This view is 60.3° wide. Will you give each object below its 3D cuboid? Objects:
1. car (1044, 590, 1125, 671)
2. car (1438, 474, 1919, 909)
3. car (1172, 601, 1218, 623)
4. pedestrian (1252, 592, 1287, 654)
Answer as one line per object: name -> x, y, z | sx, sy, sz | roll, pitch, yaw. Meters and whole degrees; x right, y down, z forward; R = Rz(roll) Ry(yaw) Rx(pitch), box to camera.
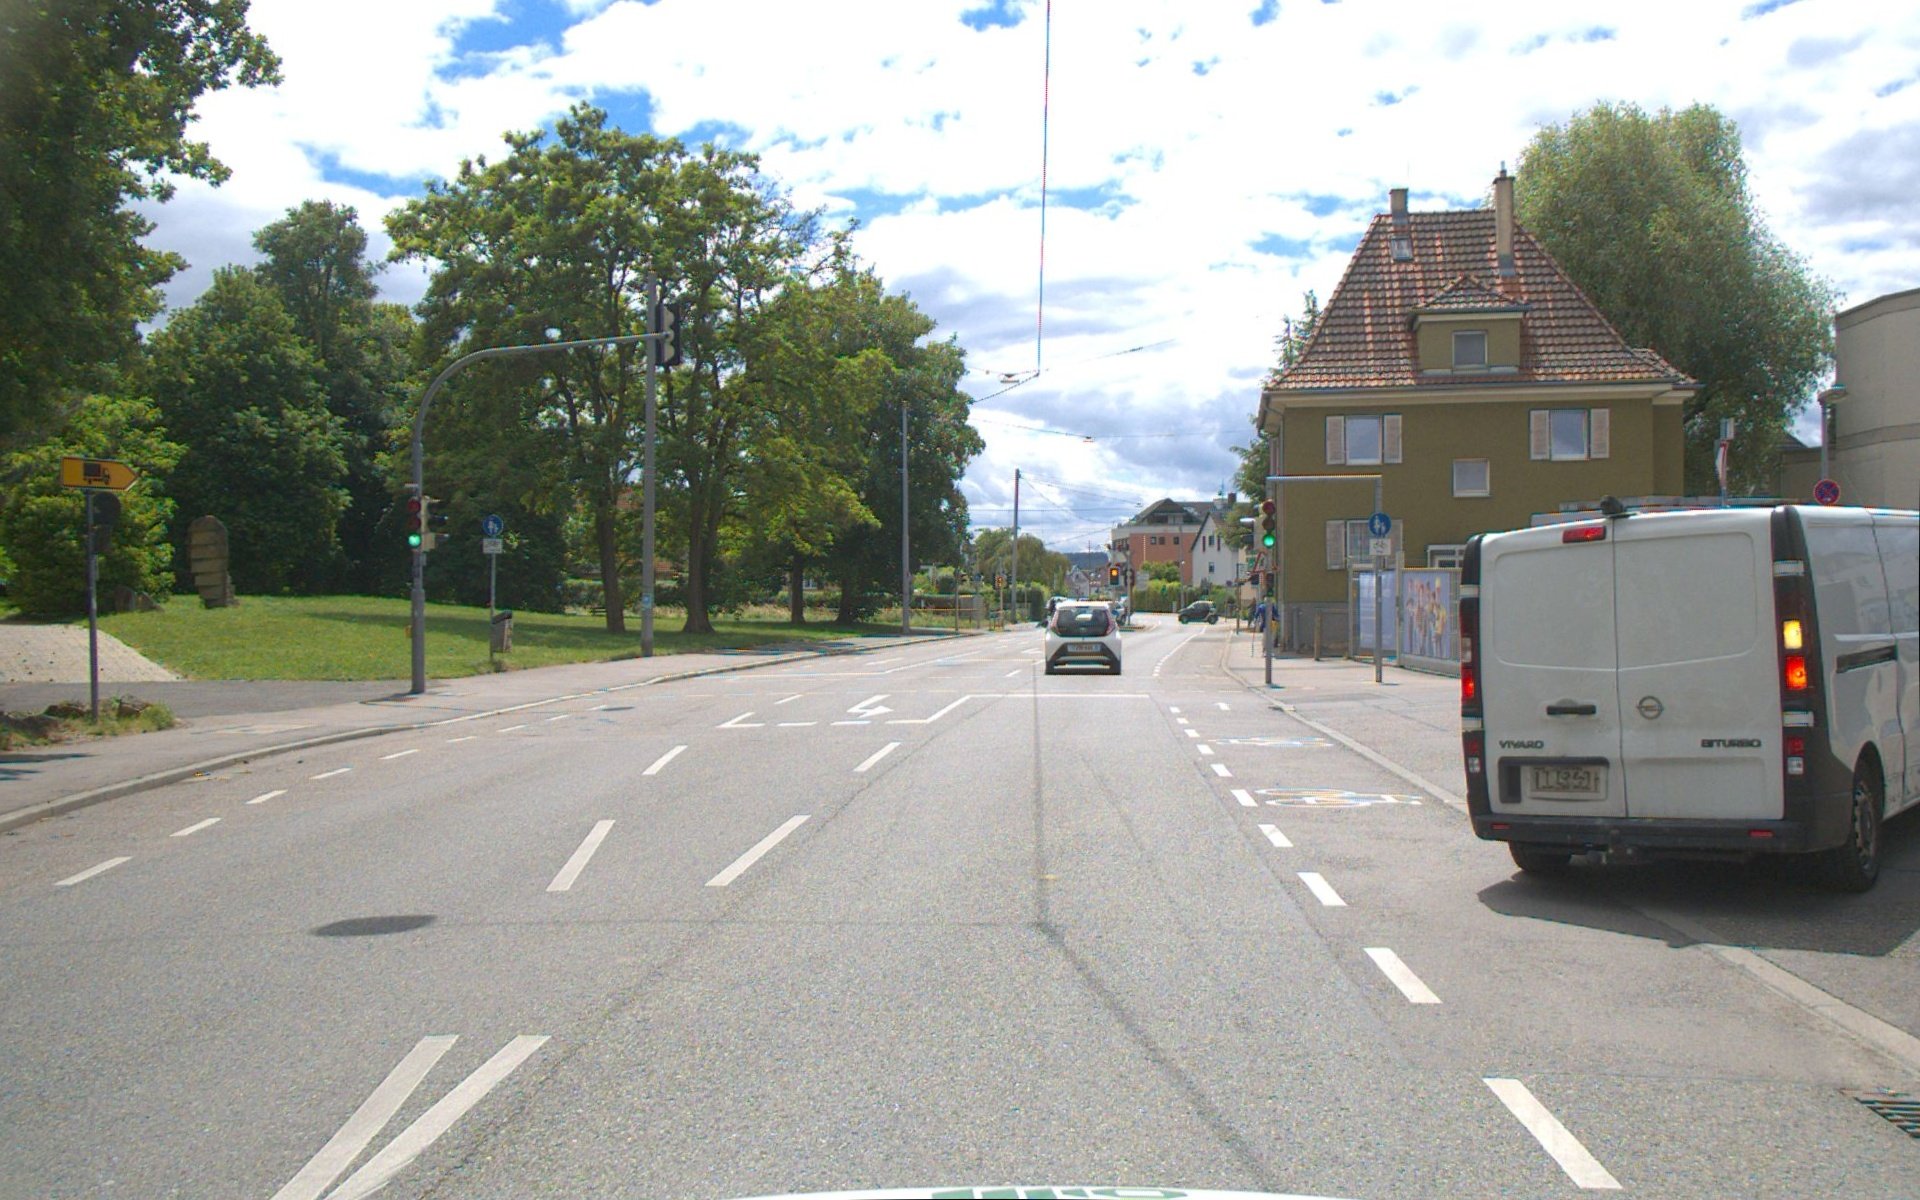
car -> 2.613, 0.635, 35.459 | 1.570, 1.635, 4.001 | -1, -1, 2
car -> 4.873, 0.366, 10.052 | 1.909, 1.995, 4.807 | -2, 0, 41
car -> 15.867, 0.802, 111.772 | 2.976, 1.459, 1.484 | -1, -1, 5
pedestrian -> 8.106, 0.612, 43.307 | 0.664, 1.580, 0.835 | -3, -3, -1
